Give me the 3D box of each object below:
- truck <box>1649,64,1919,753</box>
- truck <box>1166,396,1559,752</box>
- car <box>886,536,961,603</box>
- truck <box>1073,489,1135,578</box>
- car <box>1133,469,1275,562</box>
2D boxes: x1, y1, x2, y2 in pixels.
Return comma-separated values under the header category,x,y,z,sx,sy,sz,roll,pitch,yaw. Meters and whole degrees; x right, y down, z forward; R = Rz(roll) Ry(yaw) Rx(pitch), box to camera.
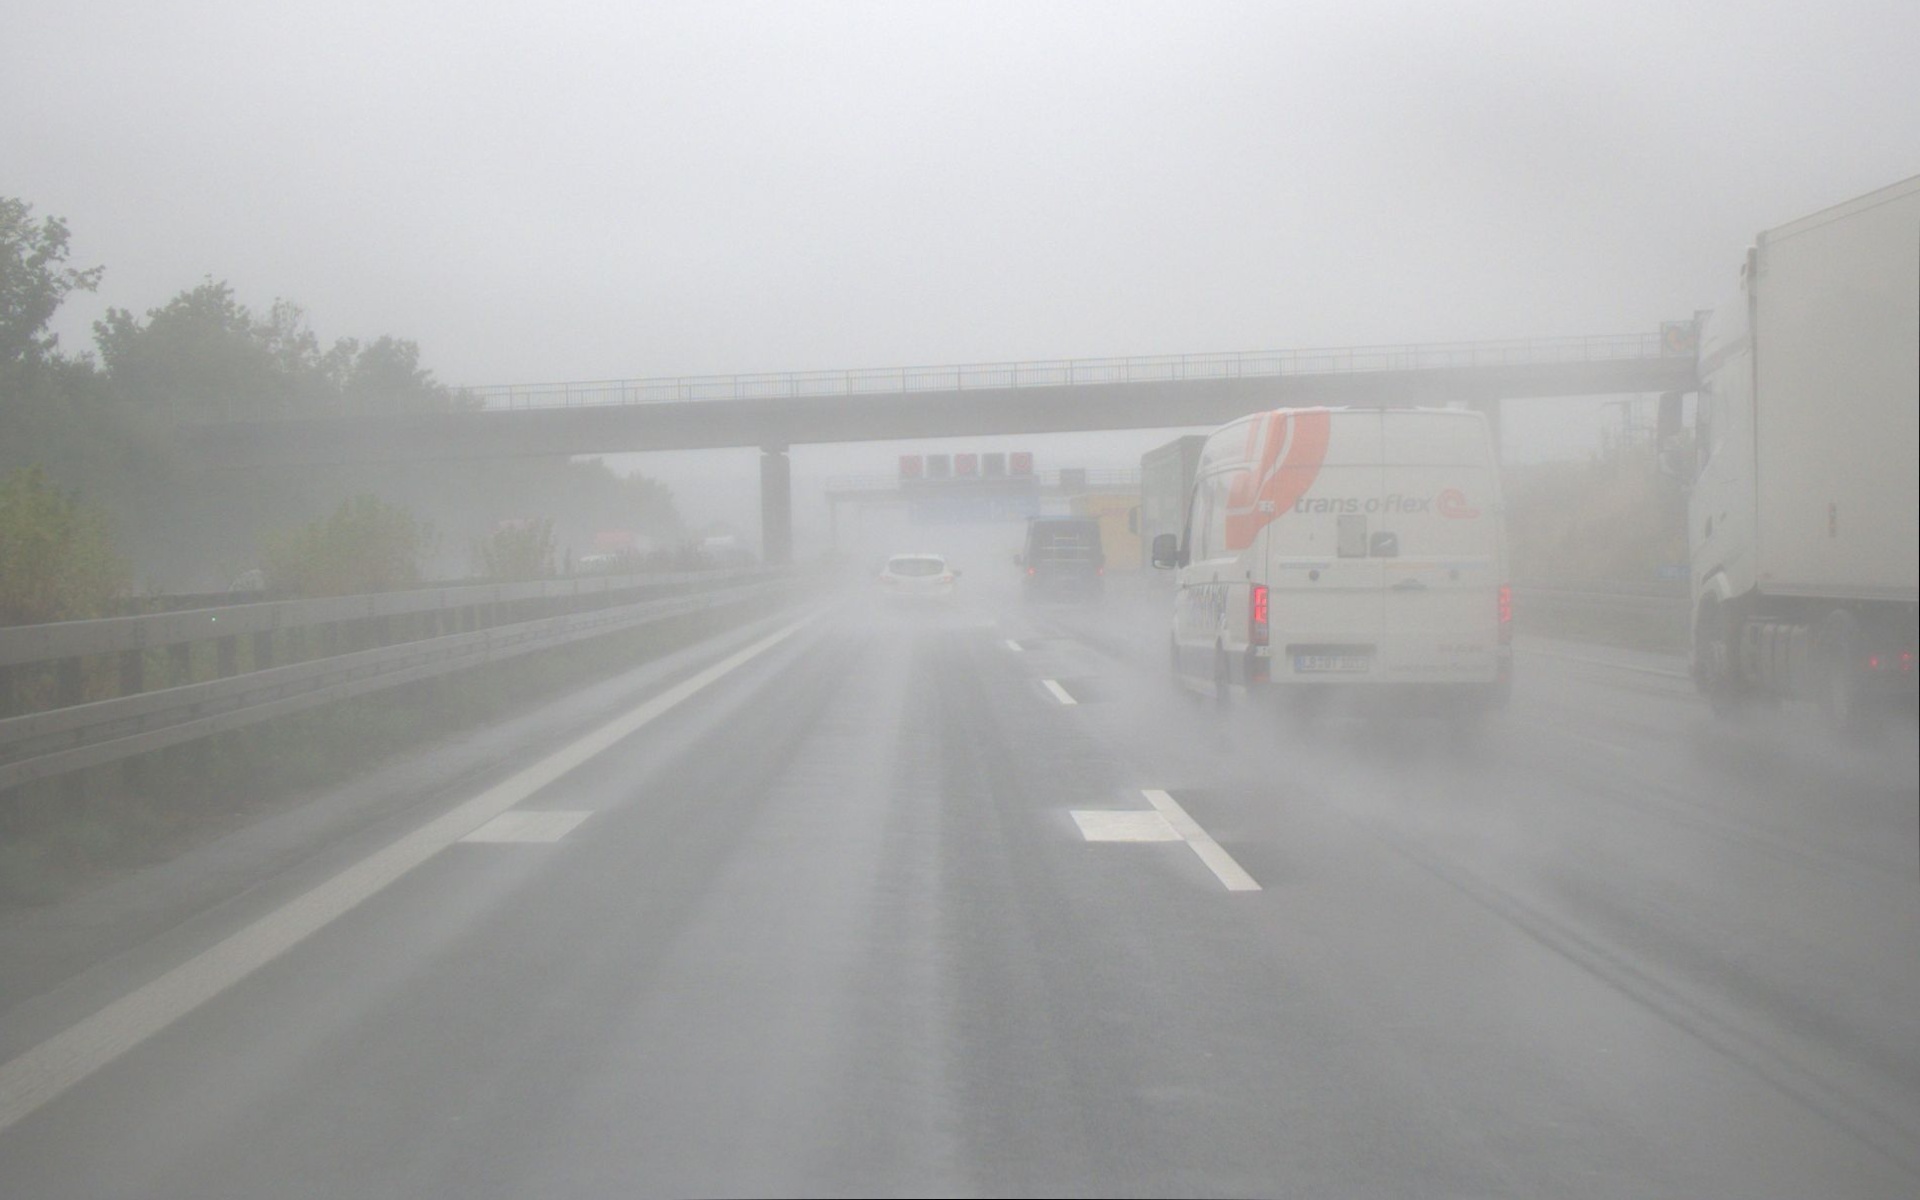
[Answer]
category,x,y,z,sx,sy,sz,roll,pitch,yaw
truck,7.894,-1.259,22.631,3.039,4.572,16.353,1,1,-1
truck,2.998,-0.291,27.000,2.419,2.484,5.560,1,2,0
car,-0.802,-0.689,75.450,1.605,1.333,3.849,1,2,-1
truck,5.887,-2.763,140.980,2.109,3.504,5.248,0,2,-2
car,5.495,-1.945,78.125,2.788,2.006,4.993,1,2,-1
